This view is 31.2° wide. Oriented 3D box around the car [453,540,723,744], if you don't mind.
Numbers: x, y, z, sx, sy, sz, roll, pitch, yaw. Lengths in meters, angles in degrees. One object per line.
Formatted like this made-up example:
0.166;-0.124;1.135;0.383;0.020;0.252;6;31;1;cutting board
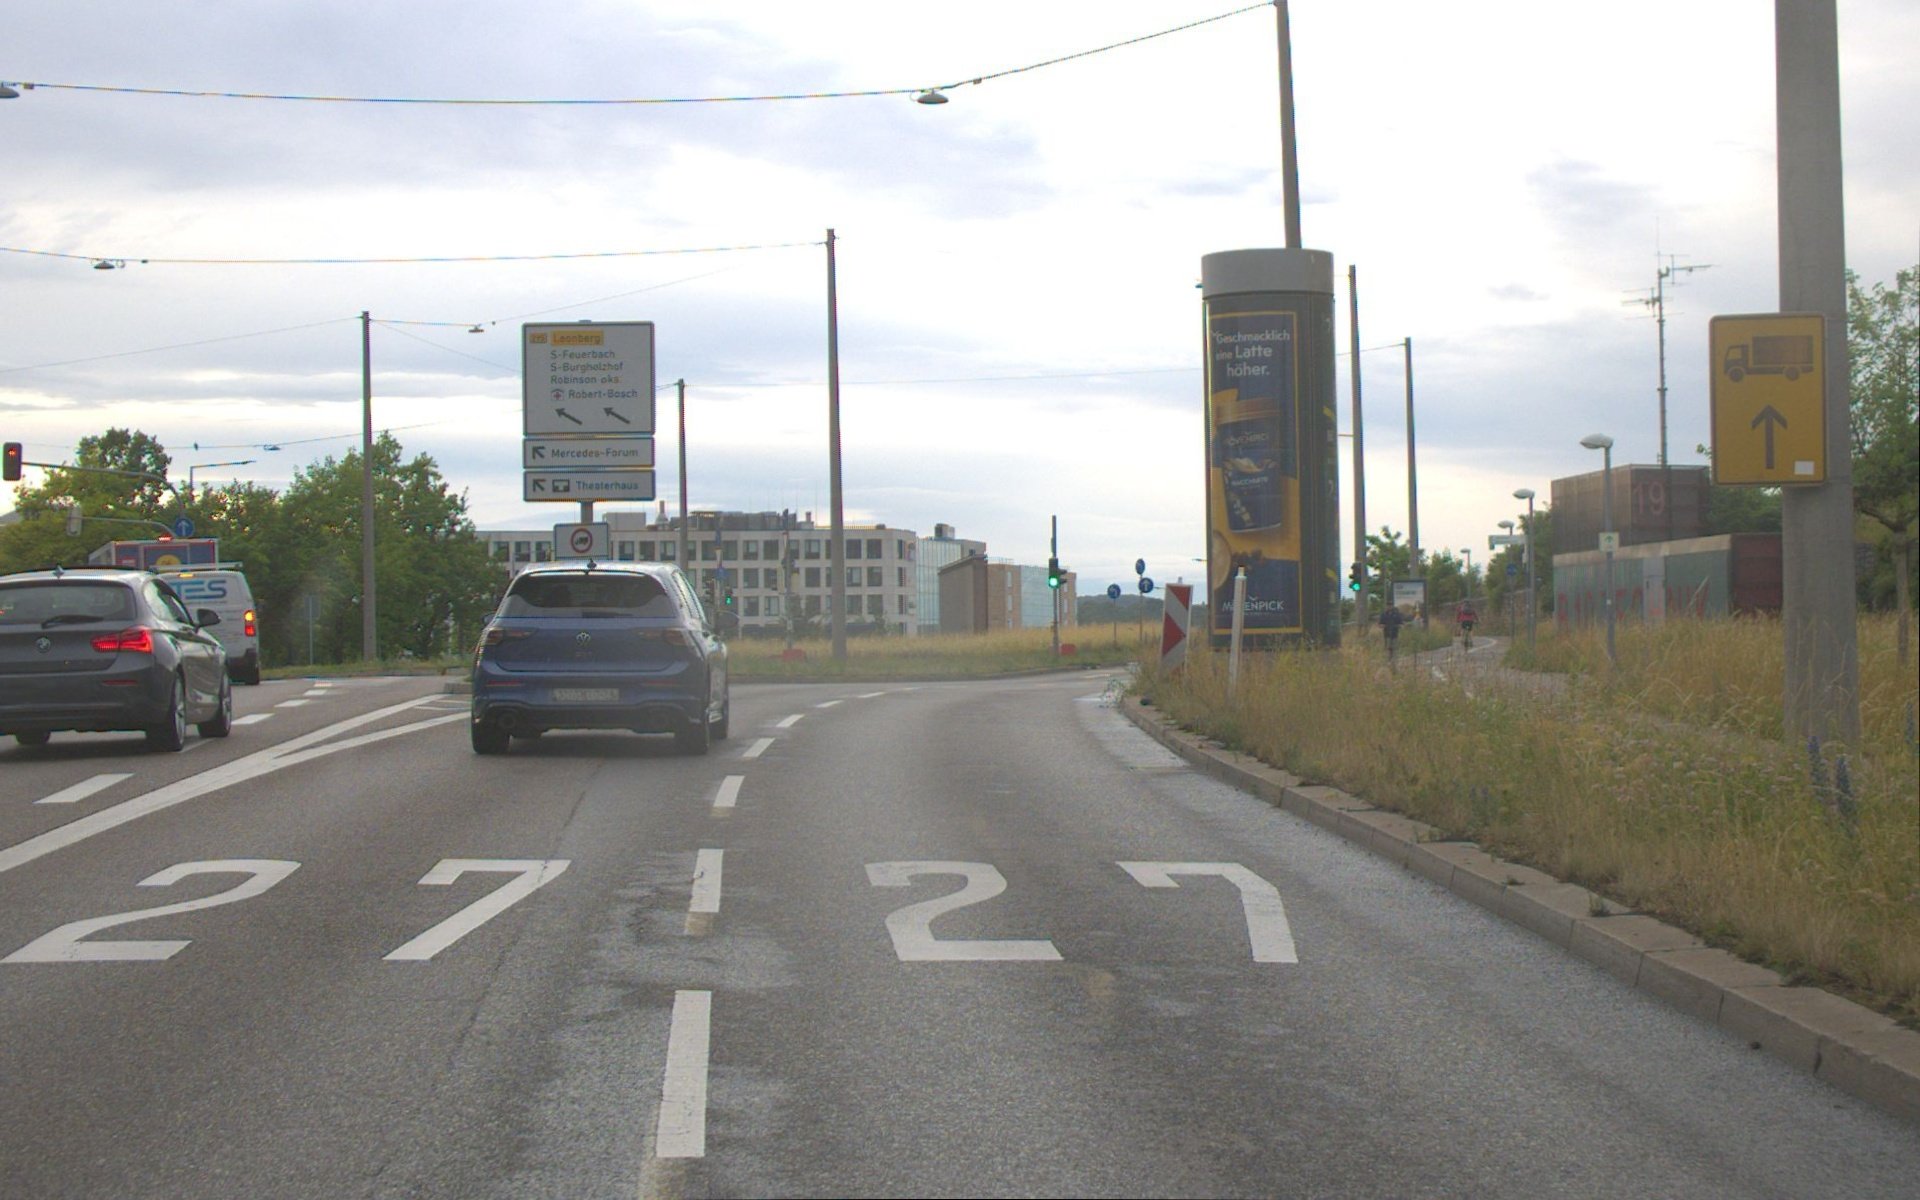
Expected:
-2.822;0.269;26.825;1.838;1.389;4.001;1;2;-3;car

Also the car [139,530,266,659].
-12.470;-0.070;56.811;1.904;1.966;5.093;-2;0;-11;car

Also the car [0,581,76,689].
-14.651;0.561;52.658;1.904;1.558;4.001;-2;0;-17;car

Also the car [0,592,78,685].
-22.943;0.919;83.986;1.993;2.006;4.001;-3;3;-24;car

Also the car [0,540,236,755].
-6.957;0.319;27.262;1.869;1.456;3.977;-1;3;-5;car

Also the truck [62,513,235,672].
-17.253;-0.162;72.824;2.666;3.209;6.550;0;0;-21;truck
